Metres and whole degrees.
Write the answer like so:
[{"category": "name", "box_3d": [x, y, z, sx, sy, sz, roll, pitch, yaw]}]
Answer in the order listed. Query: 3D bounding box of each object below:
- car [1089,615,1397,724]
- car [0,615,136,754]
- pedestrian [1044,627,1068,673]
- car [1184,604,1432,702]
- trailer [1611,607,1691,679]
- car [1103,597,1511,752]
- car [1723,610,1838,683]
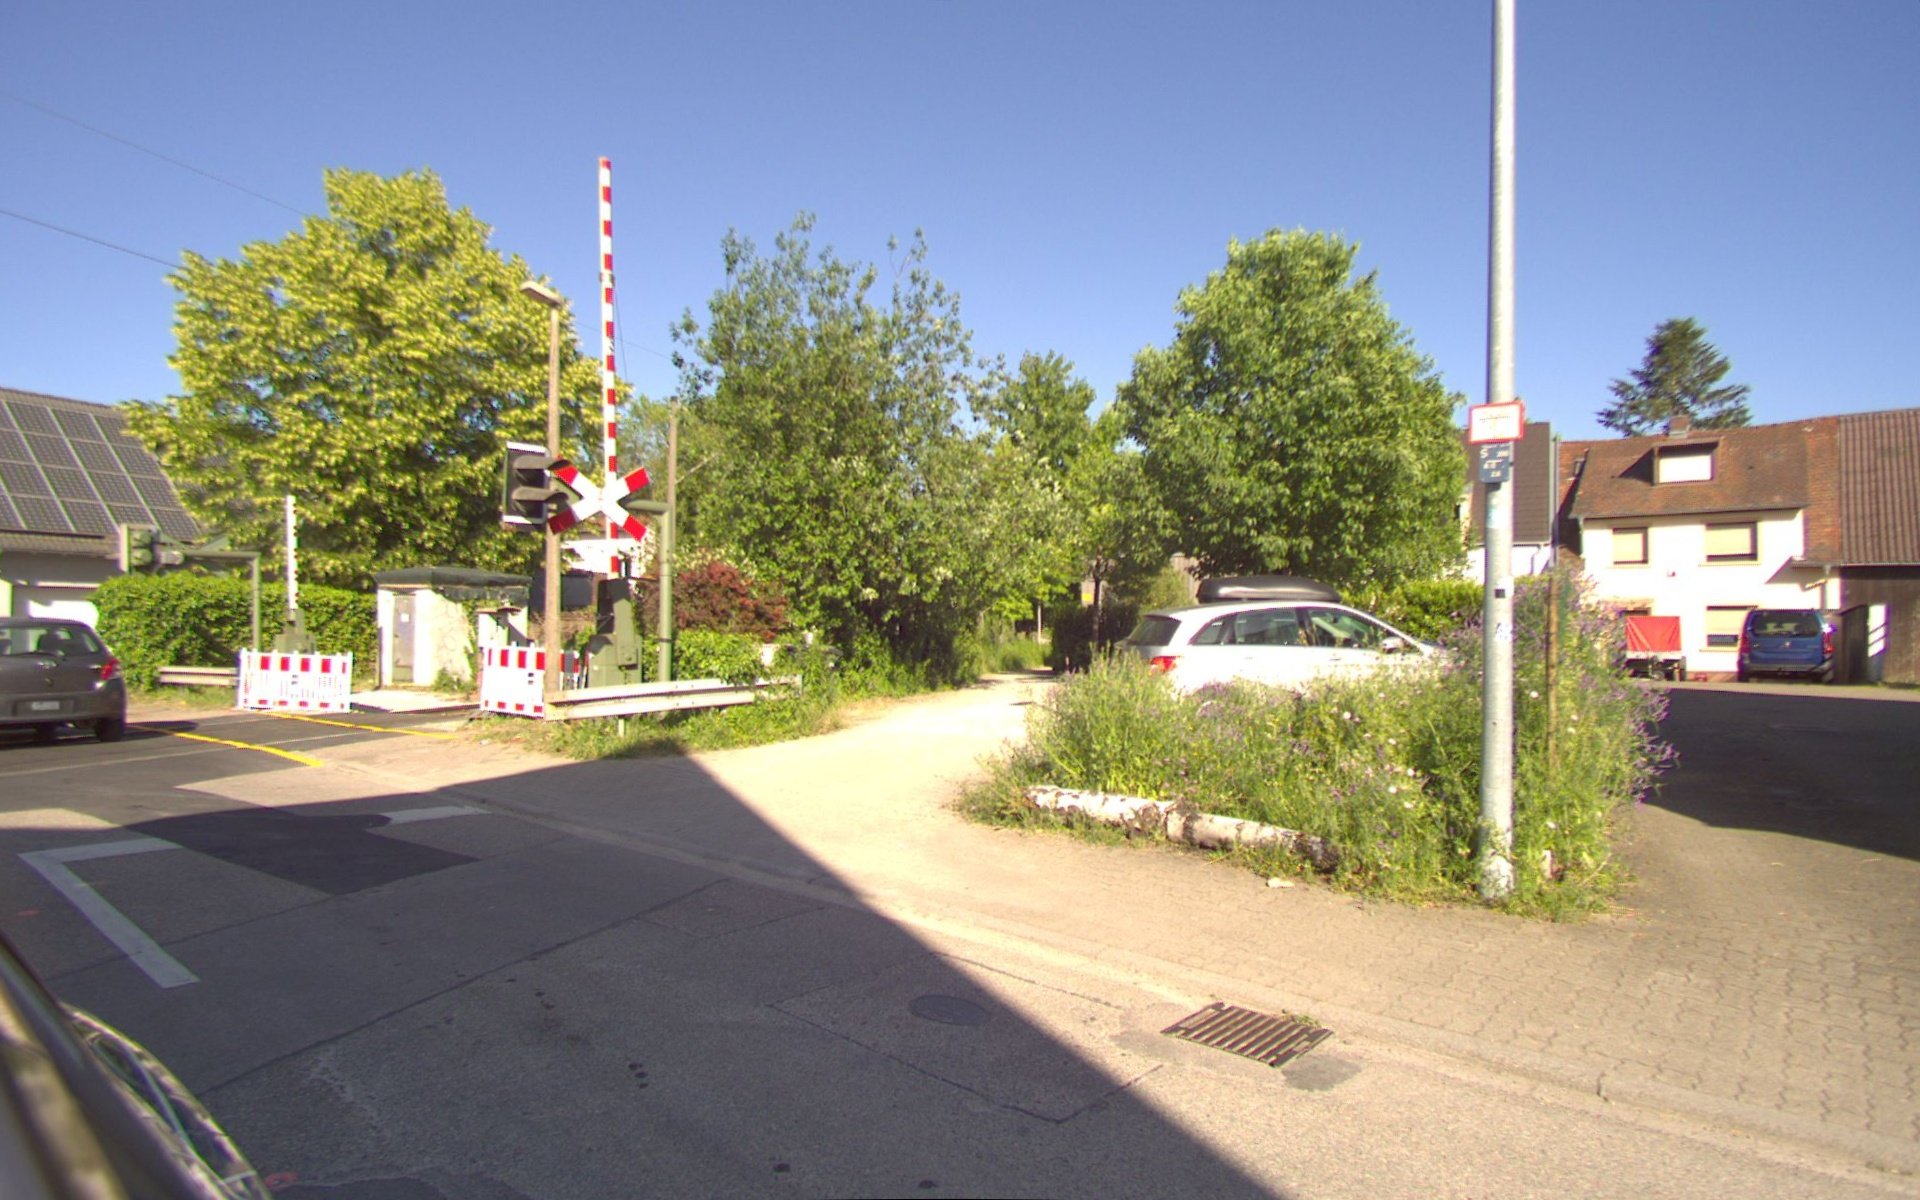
[{"category": "car", "box_3d": [3.854, 0.933, 14.168, 3.774, 1.413, 1.644, 0, -2, -4]}, {"category": "car", "box_3d": [-11.807, 0.943, 12.359, 3.644, 1.521, 1.672, 0, -2, 34]}, {"category": "pedestrian", "box_3d": [3.479, 1.793, 36.596, 0.637, 1.625, 0.993, 0, -1, 20]}, {"category": "car", "box_3d": [6.067, 0.915, 17.905, 3.774, 1.646, 1.653, 0, -1, -4]}, {"category": "trailer", "box_3d": [18.135, 1.063, 26.674, 1.463, 1.682, 3.565, 0, 1, 30]}, {"category": "car", "box_3d": [3.734, 0.763, 11.313, 3.940, 1.576, 1.690, 0, 0, -4]}, {"category": "car", "box_3d": [20.223, 1.074, 25.095, 1.704, 1.647, 3.907, 0, 0, 32]}]
